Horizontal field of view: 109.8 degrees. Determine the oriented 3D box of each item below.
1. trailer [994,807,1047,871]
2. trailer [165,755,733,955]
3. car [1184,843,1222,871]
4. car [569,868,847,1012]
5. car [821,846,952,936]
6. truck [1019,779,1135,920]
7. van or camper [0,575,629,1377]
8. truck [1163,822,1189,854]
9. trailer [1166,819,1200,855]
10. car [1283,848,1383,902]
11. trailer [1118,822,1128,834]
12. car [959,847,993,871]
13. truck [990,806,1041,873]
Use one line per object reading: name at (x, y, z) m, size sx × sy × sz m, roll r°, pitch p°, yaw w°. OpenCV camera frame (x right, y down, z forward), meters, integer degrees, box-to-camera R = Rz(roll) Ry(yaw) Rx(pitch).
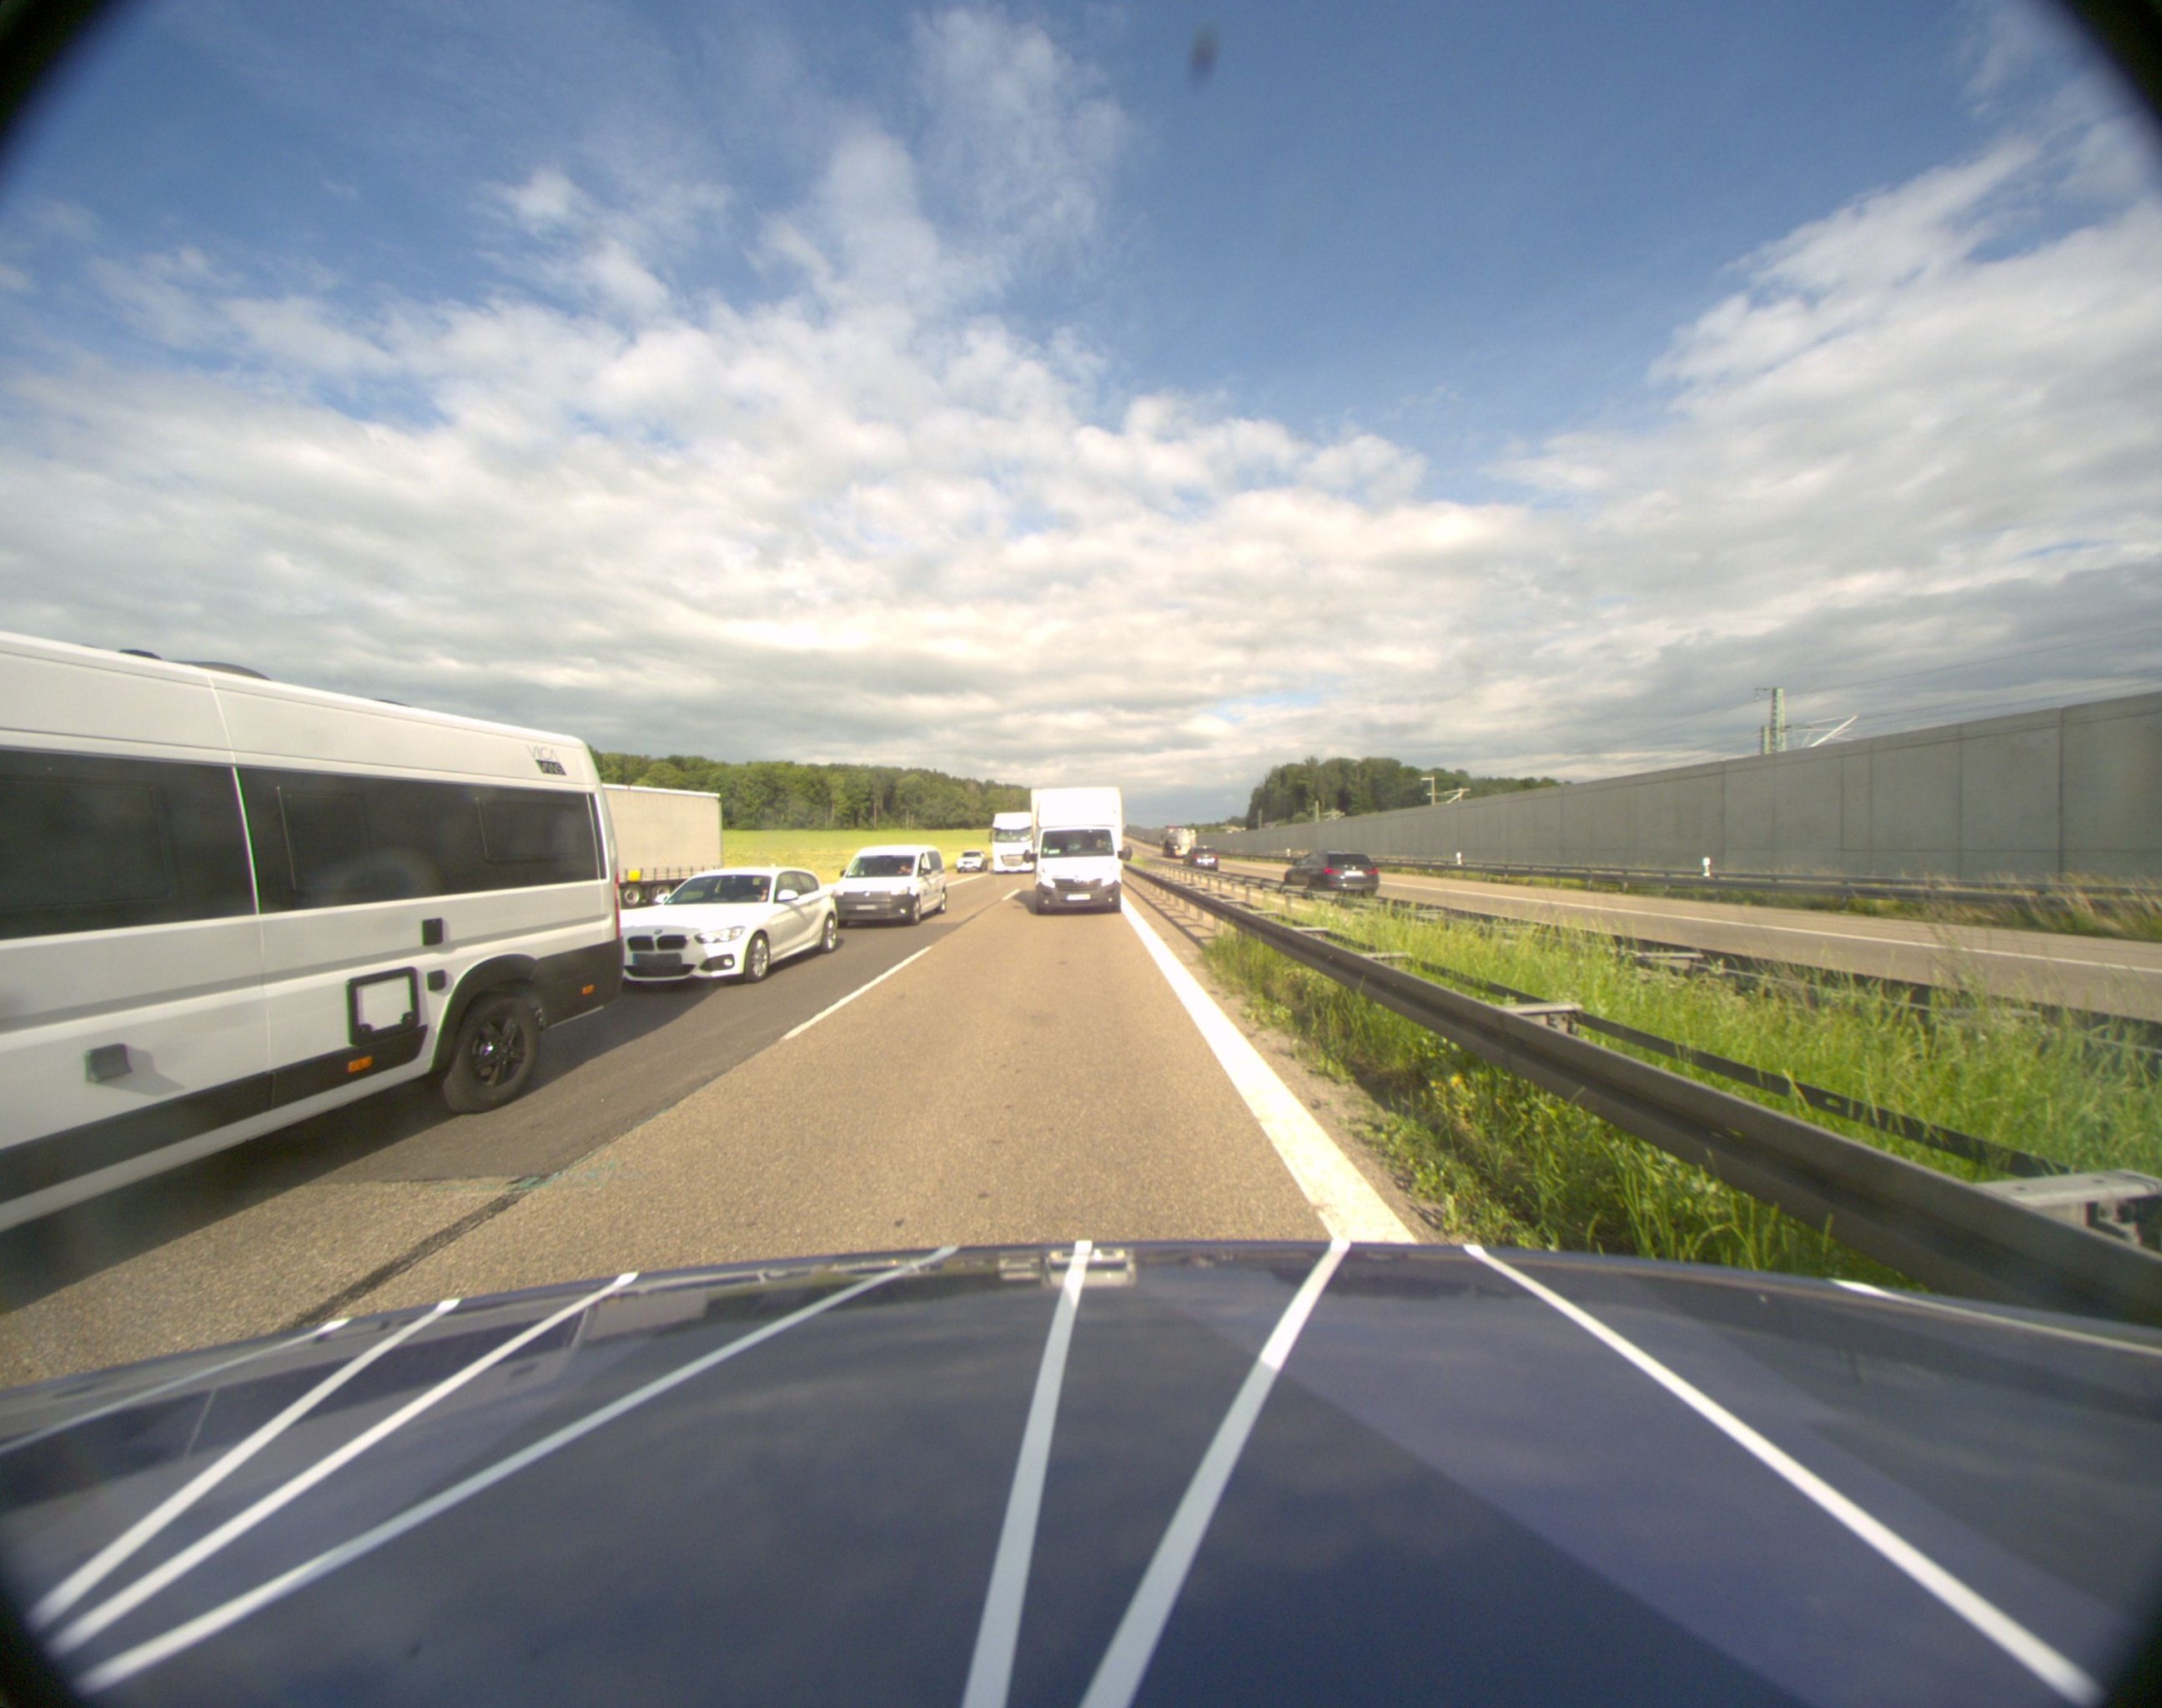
trailer at (-4.298, -1.132, 57.237) m, size 2.742 × 4.137 × 14.015 m, roll -2°, pitch 1°, yaw 0°
trailer at (-16.548, -0.045, 22.750) m, size 2.739 × 4.136 × 13.842 m, roll -2°, pitch 1°, yaw 15°
car at (7.844, 0.145, 49.255) m, size 1.785 × 1.727 × 4.101 m, roll -1°, pitch 1°, yaw 1°
car at (-4.793, 0.993, 10.563) m, size 1.708 × 1.424 × 4.231 m, roll -2°, pitch 1°, yaw 0°
car at (-4.327, 0.722, 17.741) m, size 1.729 × 1.746 × 4.702 m, roll -2°, pitch 1°, yaw 1°
truck at (-0.084, -0.160, 23.178) m, size 2.500 × 3.082 × 12.036 m, roll -2°, pitch 1°, yaw 0°
van or camper at (-4.711, 0.416, 2.787) m, size 2.221 × 2.665 × 6.331 m, roll -1°, pitch 1°, yaw 0°
truck at (11.866, -1.985, 95.307) m, size 2.589 × 3.900 × 5.721 m, roll 0°, pitch 1°, yaw 0°
trailer at (11.843, -1.942, 89.176) m, size 2.595 × 3.879 × 10.862 m, roll 0°, pitch 1°, yaw 0°
car at (7.947, 0.598, 24.409) m, size 1.702 × 1.490 × 4.426 m, roll -1°, pitch 1°, yaw 0°
trailer at (14.904, -9.018, 268.065) m, size 2.797 × 4.054 × 13.517 m, roll 0°, pitch 1°, yaw 0°
car at (-7.701, 0.338, 56.123) m, size 1.808 × 1.583 × 4.675 m, roll -1°, pitch 1°, yaw 0°
truck at (-4.300, -0.987, 50.984) m, size 2.736 × 4.150 × 5.765 m, roll -2°, pitch 2°, yaw 0°
